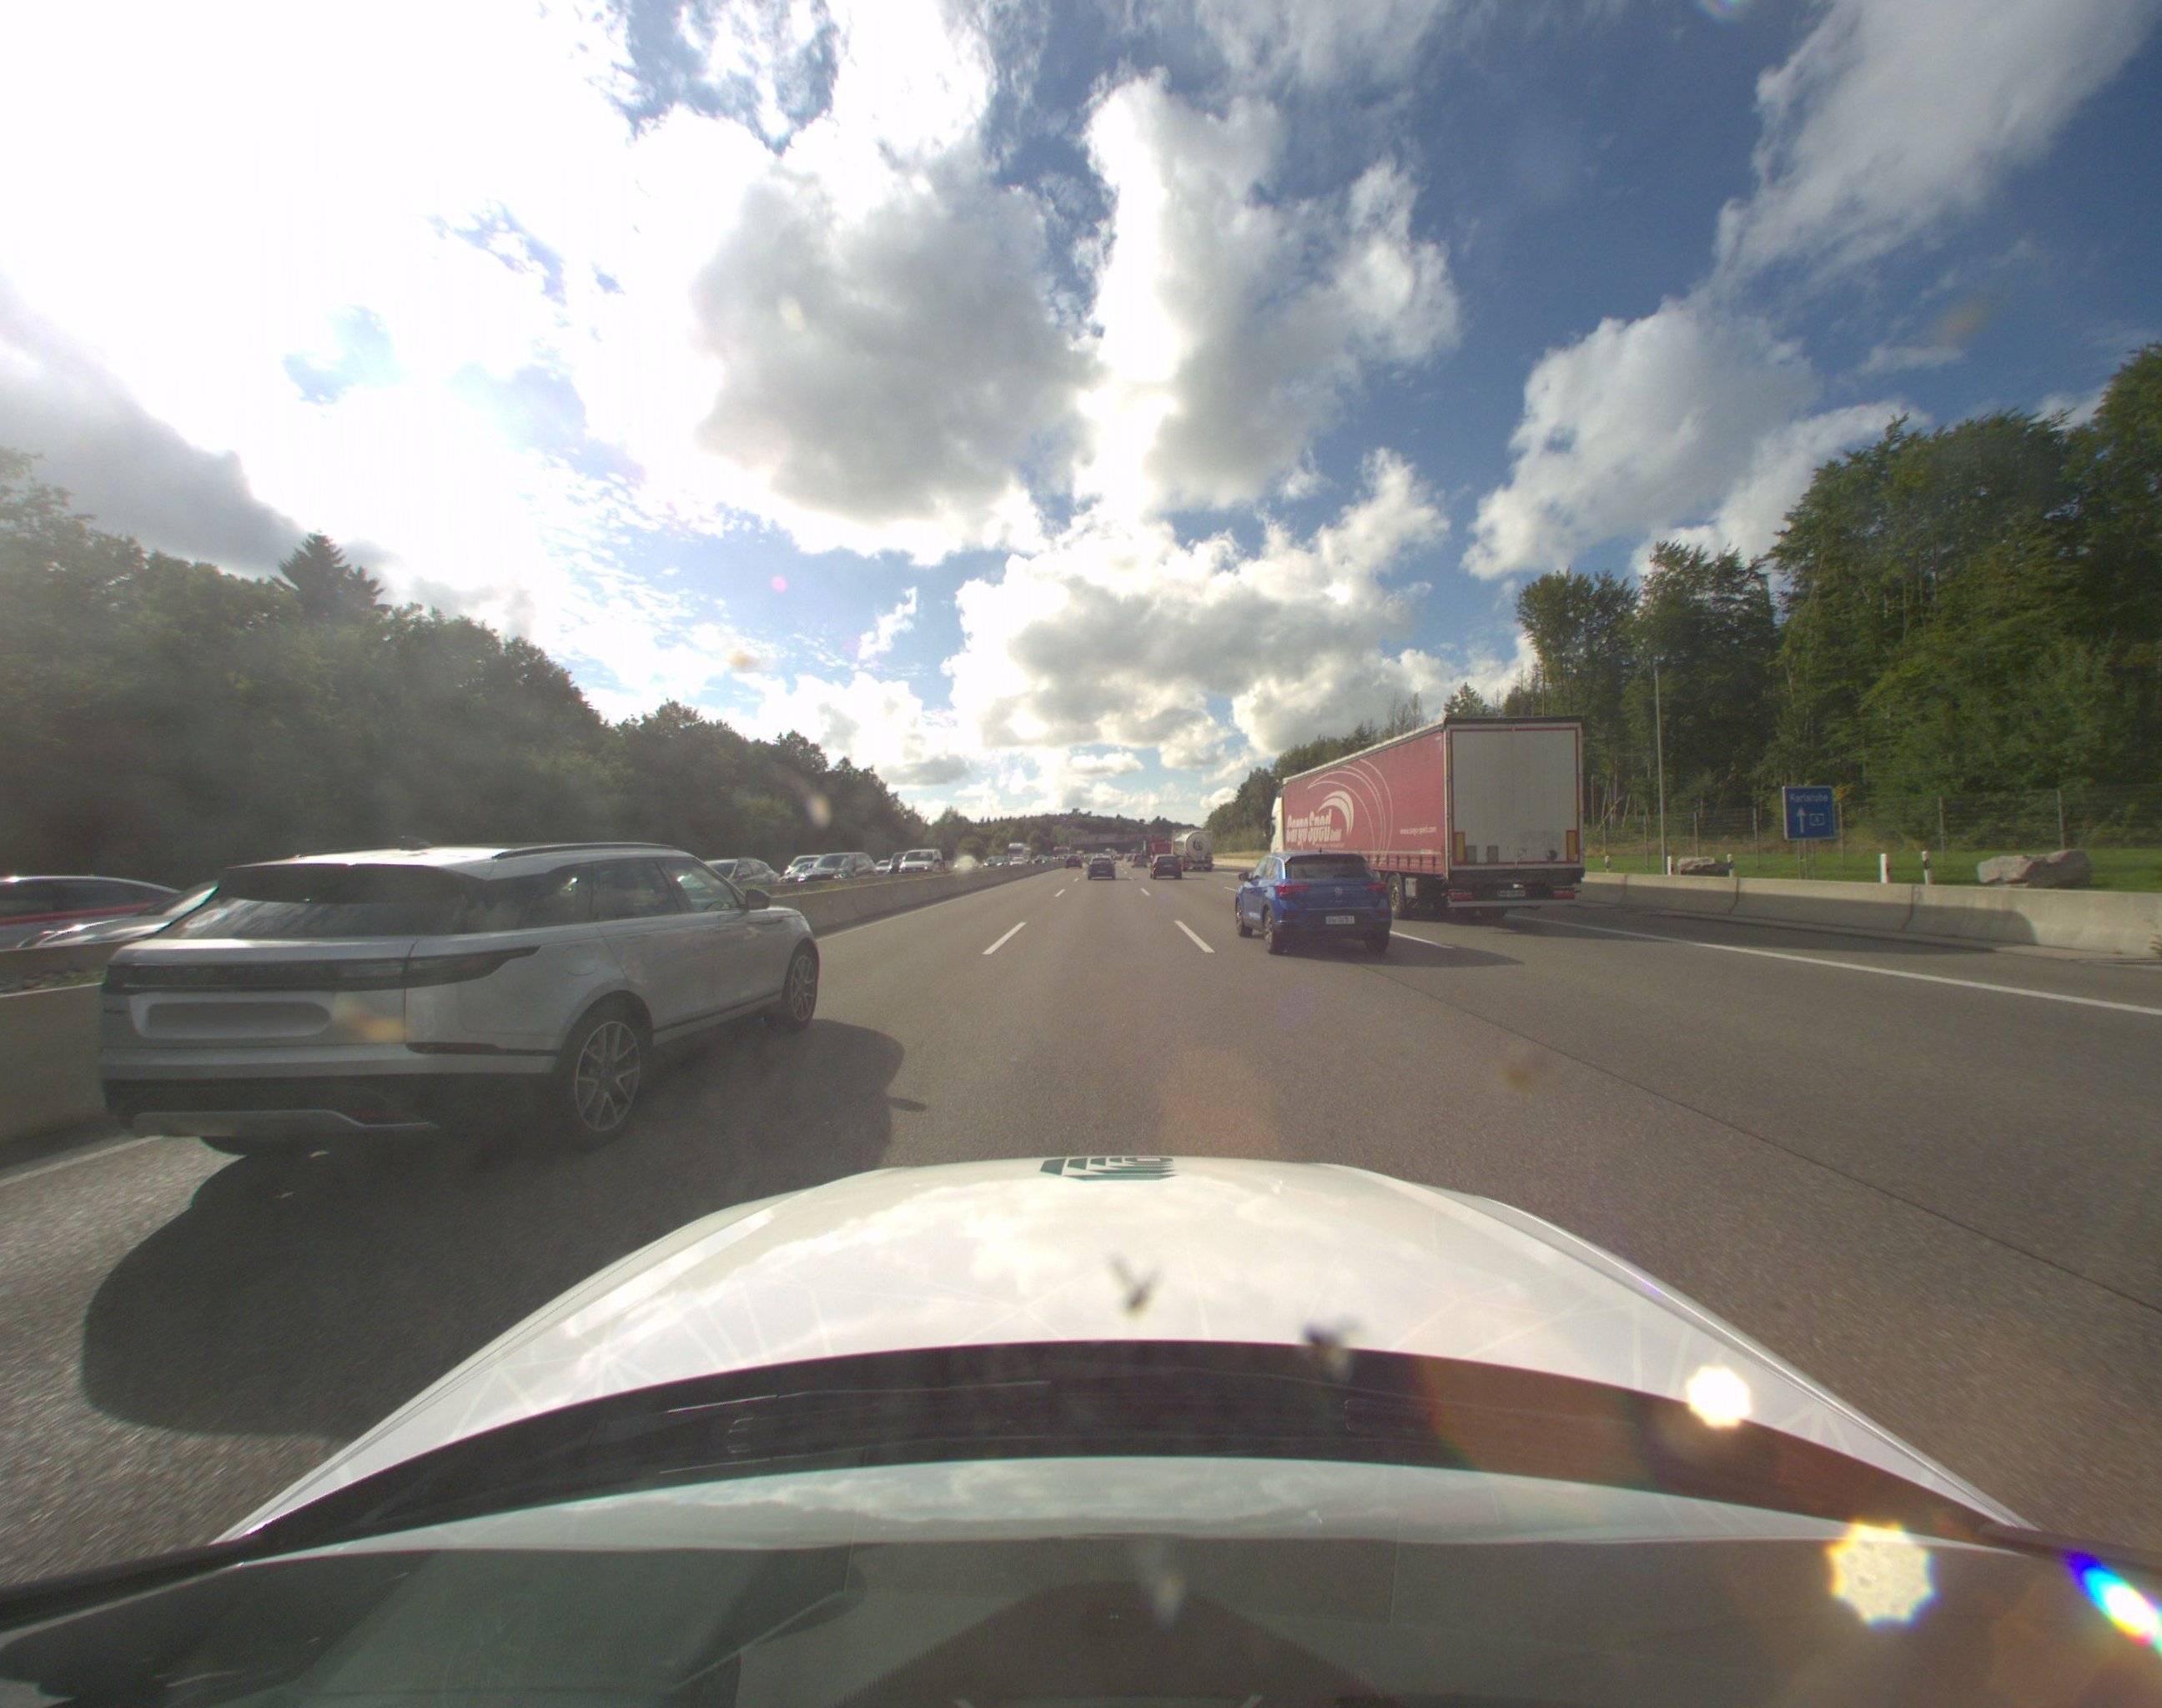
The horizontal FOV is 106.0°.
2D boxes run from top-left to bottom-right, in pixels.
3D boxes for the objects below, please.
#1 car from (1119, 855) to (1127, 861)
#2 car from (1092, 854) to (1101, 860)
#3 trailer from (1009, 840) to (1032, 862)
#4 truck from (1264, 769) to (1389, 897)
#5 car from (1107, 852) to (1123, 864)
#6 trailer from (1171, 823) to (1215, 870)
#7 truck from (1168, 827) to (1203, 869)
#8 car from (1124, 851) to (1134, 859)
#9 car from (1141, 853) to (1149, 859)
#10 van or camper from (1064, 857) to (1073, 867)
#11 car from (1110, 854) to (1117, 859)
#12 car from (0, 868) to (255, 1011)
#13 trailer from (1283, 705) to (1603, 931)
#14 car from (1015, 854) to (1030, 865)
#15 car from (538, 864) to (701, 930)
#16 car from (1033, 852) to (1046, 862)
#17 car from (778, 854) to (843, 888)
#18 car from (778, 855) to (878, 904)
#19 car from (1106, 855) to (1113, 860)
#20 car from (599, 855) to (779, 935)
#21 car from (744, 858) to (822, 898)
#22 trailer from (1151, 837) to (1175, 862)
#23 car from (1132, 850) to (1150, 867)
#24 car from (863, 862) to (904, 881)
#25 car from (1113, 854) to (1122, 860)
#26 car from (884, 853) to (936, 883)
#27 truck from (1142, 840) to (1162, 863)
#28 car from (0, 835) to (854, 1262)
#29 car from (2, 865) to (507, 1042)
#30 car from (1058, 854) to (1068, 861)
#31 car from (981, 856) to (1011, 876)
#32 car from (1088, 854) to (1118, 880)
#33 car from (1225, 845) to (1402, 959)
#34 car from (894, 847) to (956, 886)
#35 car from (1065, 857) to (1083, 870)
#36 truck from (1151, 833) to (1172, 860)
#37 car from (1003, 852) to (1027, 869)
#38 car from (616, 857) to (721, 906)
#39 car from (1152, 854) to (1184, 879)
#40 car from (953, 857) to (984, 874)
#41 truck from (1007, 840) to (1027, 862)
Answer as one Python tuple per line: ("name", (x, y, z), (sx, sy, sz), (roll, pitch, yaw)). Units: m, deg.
("car", (11.563, 1.145, 222.768), (2.069, 1.457, 4.001), (-2, 0, 1))
("car", (3.909, 0.687, 202.500), (2.069, 1.457, 4.001), (-2, 0, 1))
("trailer", (-11.444, -0.547, 155.638), (2.776, 3.945, 12.262), (-1, 0, 3))
("truck", (8.477, -0.665, 28.851), (2.763, 4.045, 5.775), (-1, 0, 2))
("car", (4.330, 0.468, 102.340), (1.814, 1.457, 4.004), (-2, 0, 4))
("trailer", (9.870, -0.603, 73.016), (2.639, 3.767, 11.865), (-2, 0, 2))
("truck", (10.049, -0.544, 78.838), (2.639, 3.823, 6.084), (-2, 0, 2))
("car", (9.921, 0.243, 167.830), (1.935, 1.457, 4.001), (-2, 0, 1))
("car", (18.090, 0.510, 230.551), (2.069, 1.457, 4.001), (-2, 0, 1))
("van or camper", (-3.888, 2.482, 256.839), (2.366, 2.891, 6.506), (-2, 0, 0))
("car", (10.267, 0.798, 255.946), (1.922, 1.457, 3.965), (-2, 0, 1))
("car", (-13.617, 1.058, 10.092), (1.986, 1.618, 4.552), (-2, 0, 2))
("trailer", (8.258, -0.670, 21.618), (2.763, 4.045, 13.719), (-1, 0, 2))
("car", (-9.272, 0.817, 130.110), (1.852, 1.619, 4.750), (-1, 0, 2))
("car", (-13.236, 1.168, 23.770), (1.986, 1.618, 4.552), (-2, 0, 2))
("car", (-7.672, 0.618, 150.257), (1.848, 1.670, 5.214), (-3, 0, 2))
("car", (-16.221, 0.957, 49.118), (1.942, 1.851, 5.344), (-2, 0, 2))
("car", (-9.431, 0.904, 30.767), (2.163, 1.618, 4.552), (-2, 0, 2))
("car", (8.067, 1.059, 233.242), (1.922, 1.457, 4.393), (-2, 0, 1))
("car", (-9.239, 0.890, 19.715), (1.986, 1.618, 4.552), (-2, 0, 2))
("car", (-13.243, 1.014, 36.490), (1.662, 1.618, 4.552), (-2, 0, 2))
("trailer", (11.418, -0.682, 113.969), (2.699, 3.231, 9.739), (-1, 1, 3))
("car", (6.905, 0.529, 94.505), (1.886, 1.856, 4.102), (0, 0, 2))
("car", (-15.459, 1.323, 63.958), (1.858, 1.302, 4.552), (-2, 0, 2))
("car", (8.922, 0.664, 199.131), (2.069, 1.457, 4.001), (-2, 0, 1))
("car", (-11.432, 0.865, 54.882), (2.163, 1.839, 5.262), (-2, 0, 2))
("truck", (13.143, -0.418, 150.952), (3.106, 3.935, 10.416), (-2, 0, 2))
("car", (-3.425, 0.734, 5.746), (1.999, 1.616, 5.303), (0, 0, 2))
("car", (-9.708, 1.023, 10.193), (1.972, 1.618, 4.131), (-2, 0, 2))
("car", (-4.438, 0.917, 199.153), (1.986, 1.664, 4.689), (-2, 0, 2))
("car", (-7.328, 1.016, 70.558), (1.905, 1.640, 4.244), (-2, 0, 2))
("car", (1.403, 0.779, 51.050), (1.815, 1.546, 4.002), (-1, 0, 2))
("car", (3.636, 0.671, 13.615), (1.766, 1.530, 4.459), (-2, 0, 2))
("car", (-8.740, 0.672, 46.153), (2.151, 2.013, 5.824), (-2, 0, 2))
("car", (-0.805, 1.082, 94.884), (1.935, 1.457, 4.001), (-2, 0, 1))
("truck", (11.647, -1.091, 118.781), (2.699, 3.718, 5.821), (-1, 1, 2))
("car", (-7.614, 0.719, 94.451), (2.163, 1.878, 4.983), (-2, 0, 2))
("car", (-16.814, 1.058, 33.485), (1.839, 1.799, 4.552), (-2, 0, 2))
("car", (5.354, 0.747, 50.574), (1.814, 1.457, 4.004), (-2, 0, 4))
("car", (-10.744, 1.044, 78.087), (1.986, 1.484, 5.134), (-2, 0, 2))
("truck", (-11.747, -0.596, 149.494), (2.776, 3.945, 6.450), (-1, 0, 3))
